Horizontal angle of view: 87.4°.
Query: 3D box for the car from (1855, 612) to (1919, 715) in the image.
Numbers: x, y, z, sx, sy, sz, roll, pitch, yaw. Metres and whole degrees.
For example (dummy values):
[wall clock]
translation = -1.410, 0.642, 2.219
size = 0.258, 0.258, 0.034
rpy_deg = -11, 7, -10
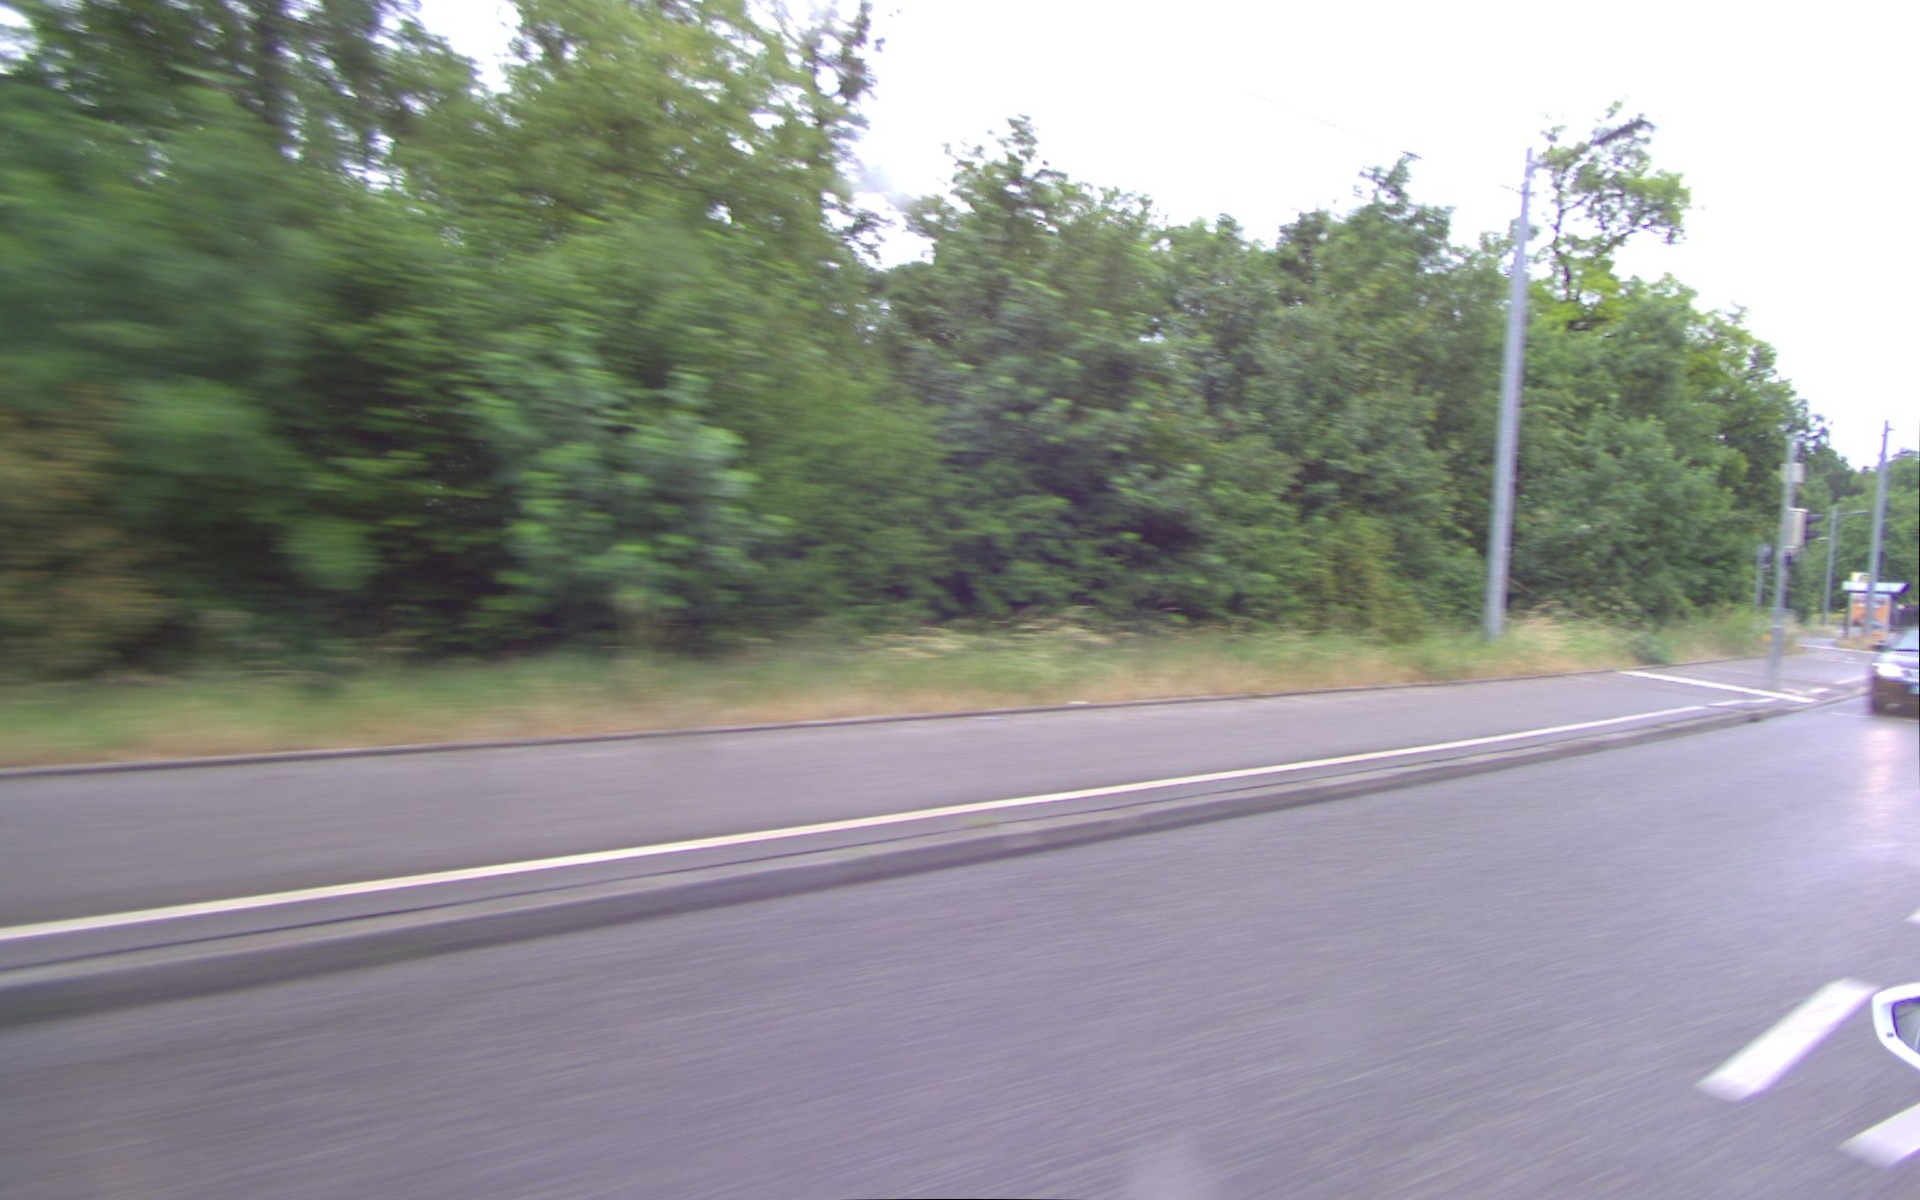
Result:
[car]
translation = 15.914, 1.012, 15.982
size = 4.375, 1.479, 1.730
rpy_deg = 2, 1, -38
